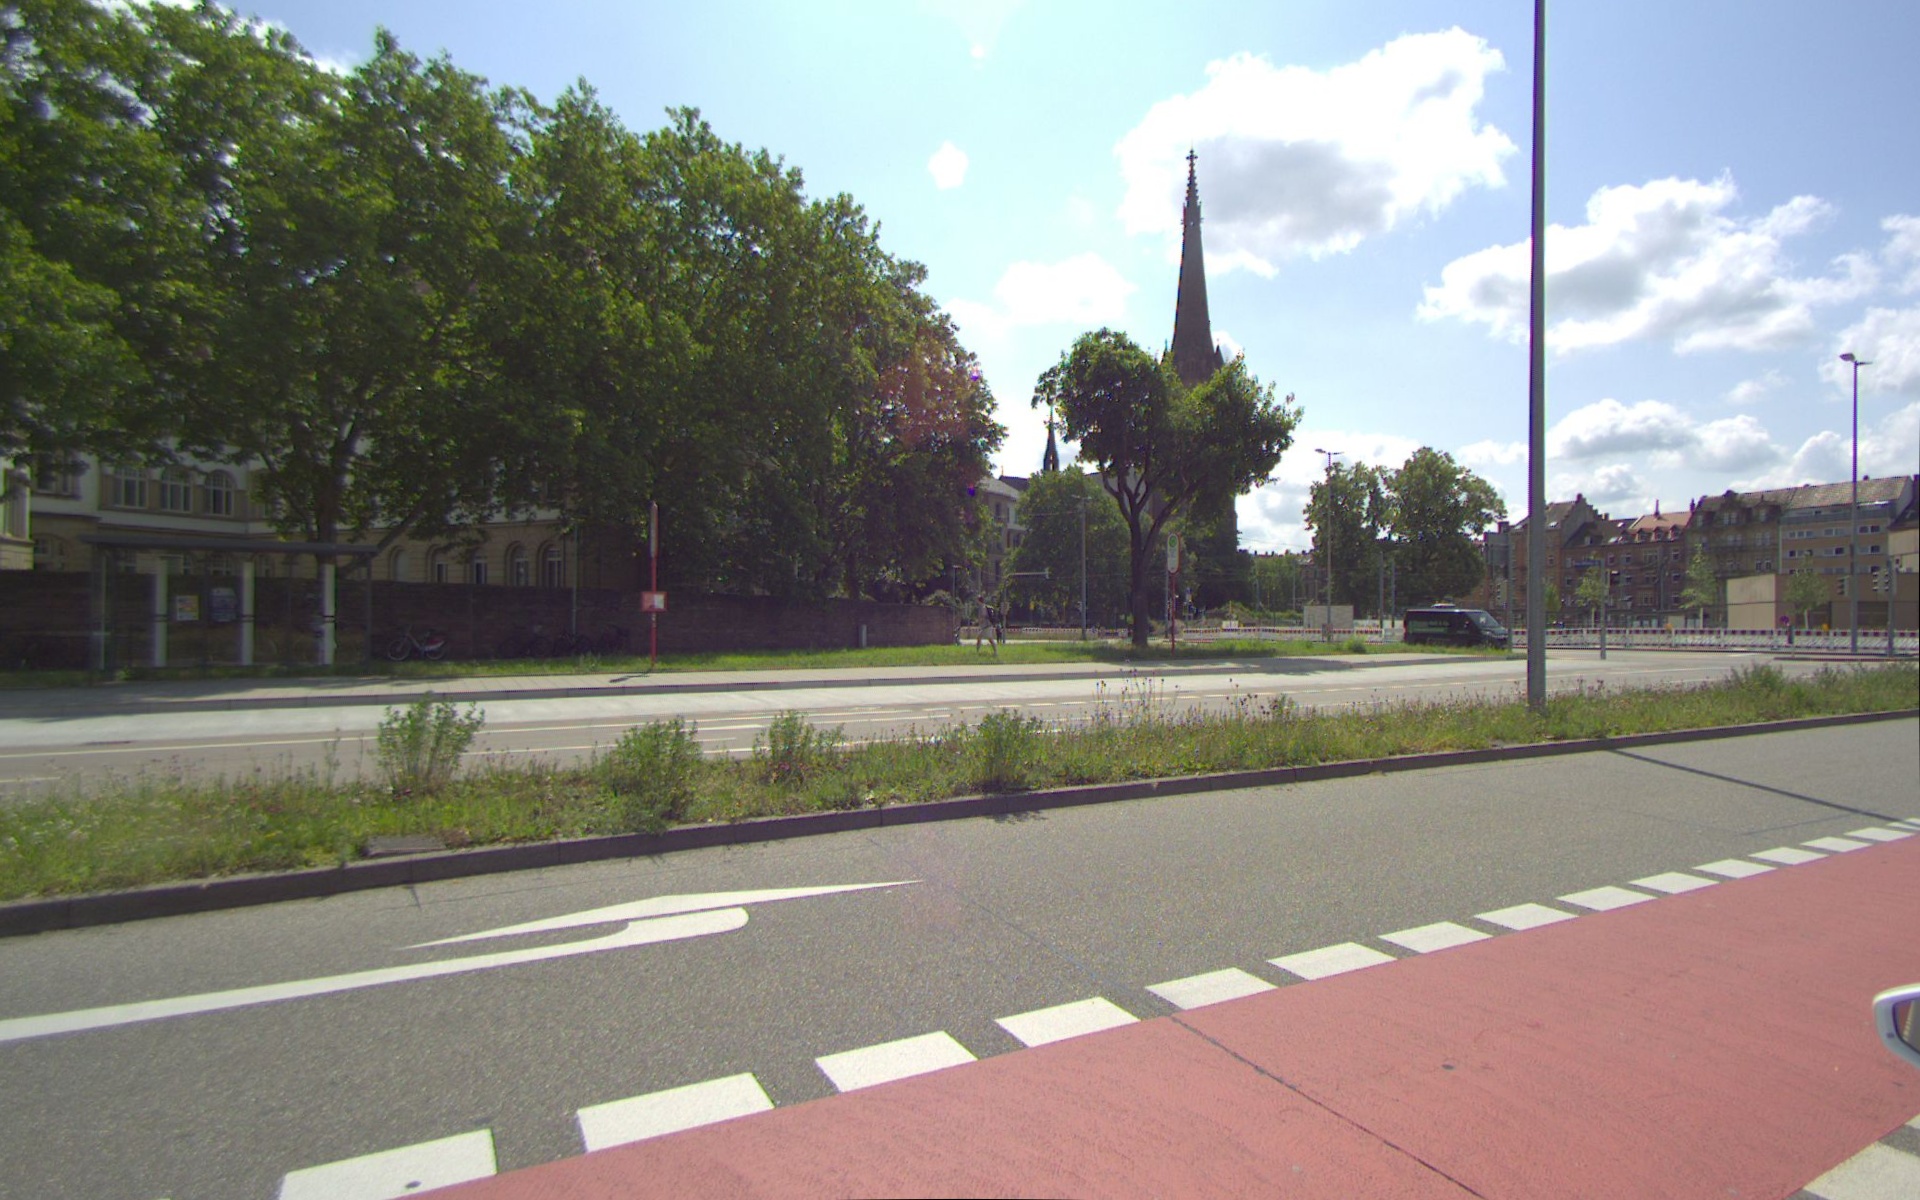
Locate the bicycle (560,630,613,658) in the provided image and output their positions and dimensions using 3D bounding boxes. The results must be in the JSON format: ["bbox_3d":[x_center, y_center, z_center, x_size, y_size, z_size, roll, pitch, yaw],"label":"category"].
[{"bbox_3d":[-12.614,1.476,33.952,0.536,0.914,1.660,0,-1,34],"label":"bicycle"}]

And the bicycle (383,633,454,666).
[{"bbox_3d":[-15.773,1.417,29.290,0.446,0.914,1.786,0,-1,39],"label":"bicycle"}]

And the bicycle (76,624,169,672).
[{"bbox_3d":[-19.658,1.109,23.595,0.538,1.065,1.615,0,-1,43],"label":"bicycle"}]

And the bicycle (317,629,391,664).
[{"bbox_3d":[-16.750,1.267,27.798,0.537,0.914,1.658,0,-1,39],"label":"bicycle"}]

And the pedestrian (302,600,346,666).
[{"bbox_3d":[-16.097,0.823,25.422,0.607,1.638,0.754,1,0,39],"label":"pedestrian"}]

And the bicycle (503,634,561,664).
[{"bbox_3d":[-13.683,1.562,32.161,0.537,0.914,1.658,0,-1,39],"label":"bicycle"}]

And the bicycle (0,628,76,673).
[{"bbox_3d":[-20.805,1.110,22.360,0.538,0.964,1.656,0,-1,43],"label":"bicycle"}]

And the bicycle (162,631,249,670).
[{"bbox_3d":[-18.817,1.242,25.084,0.537,0.914,1.658,0,-1,39],"label":"bicycle"}]

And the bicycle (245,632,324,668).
[{"bbox_3d":[-17.766,1.303,26.444,0.537,0.914,1.658,0,-1,39],"label":"bicycle"}]

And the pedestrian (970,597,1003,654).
[{"bbox_3d":[0.729,0.704,27.886,0.858,1.580,0.556,0,-1,7],"label":"pedestrian"}]

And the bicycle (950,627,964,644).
[{"bbox_3d":[-0.172,2.084,59.182,0.534,0.914,1.666,0,-1,12],"label":"bicycle"}]

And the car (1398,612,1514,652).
[{"bbox_3d":[24.684,1.539,50.153,1.908,1.904,4.980,0,-1,-33],"label":"car"}]
